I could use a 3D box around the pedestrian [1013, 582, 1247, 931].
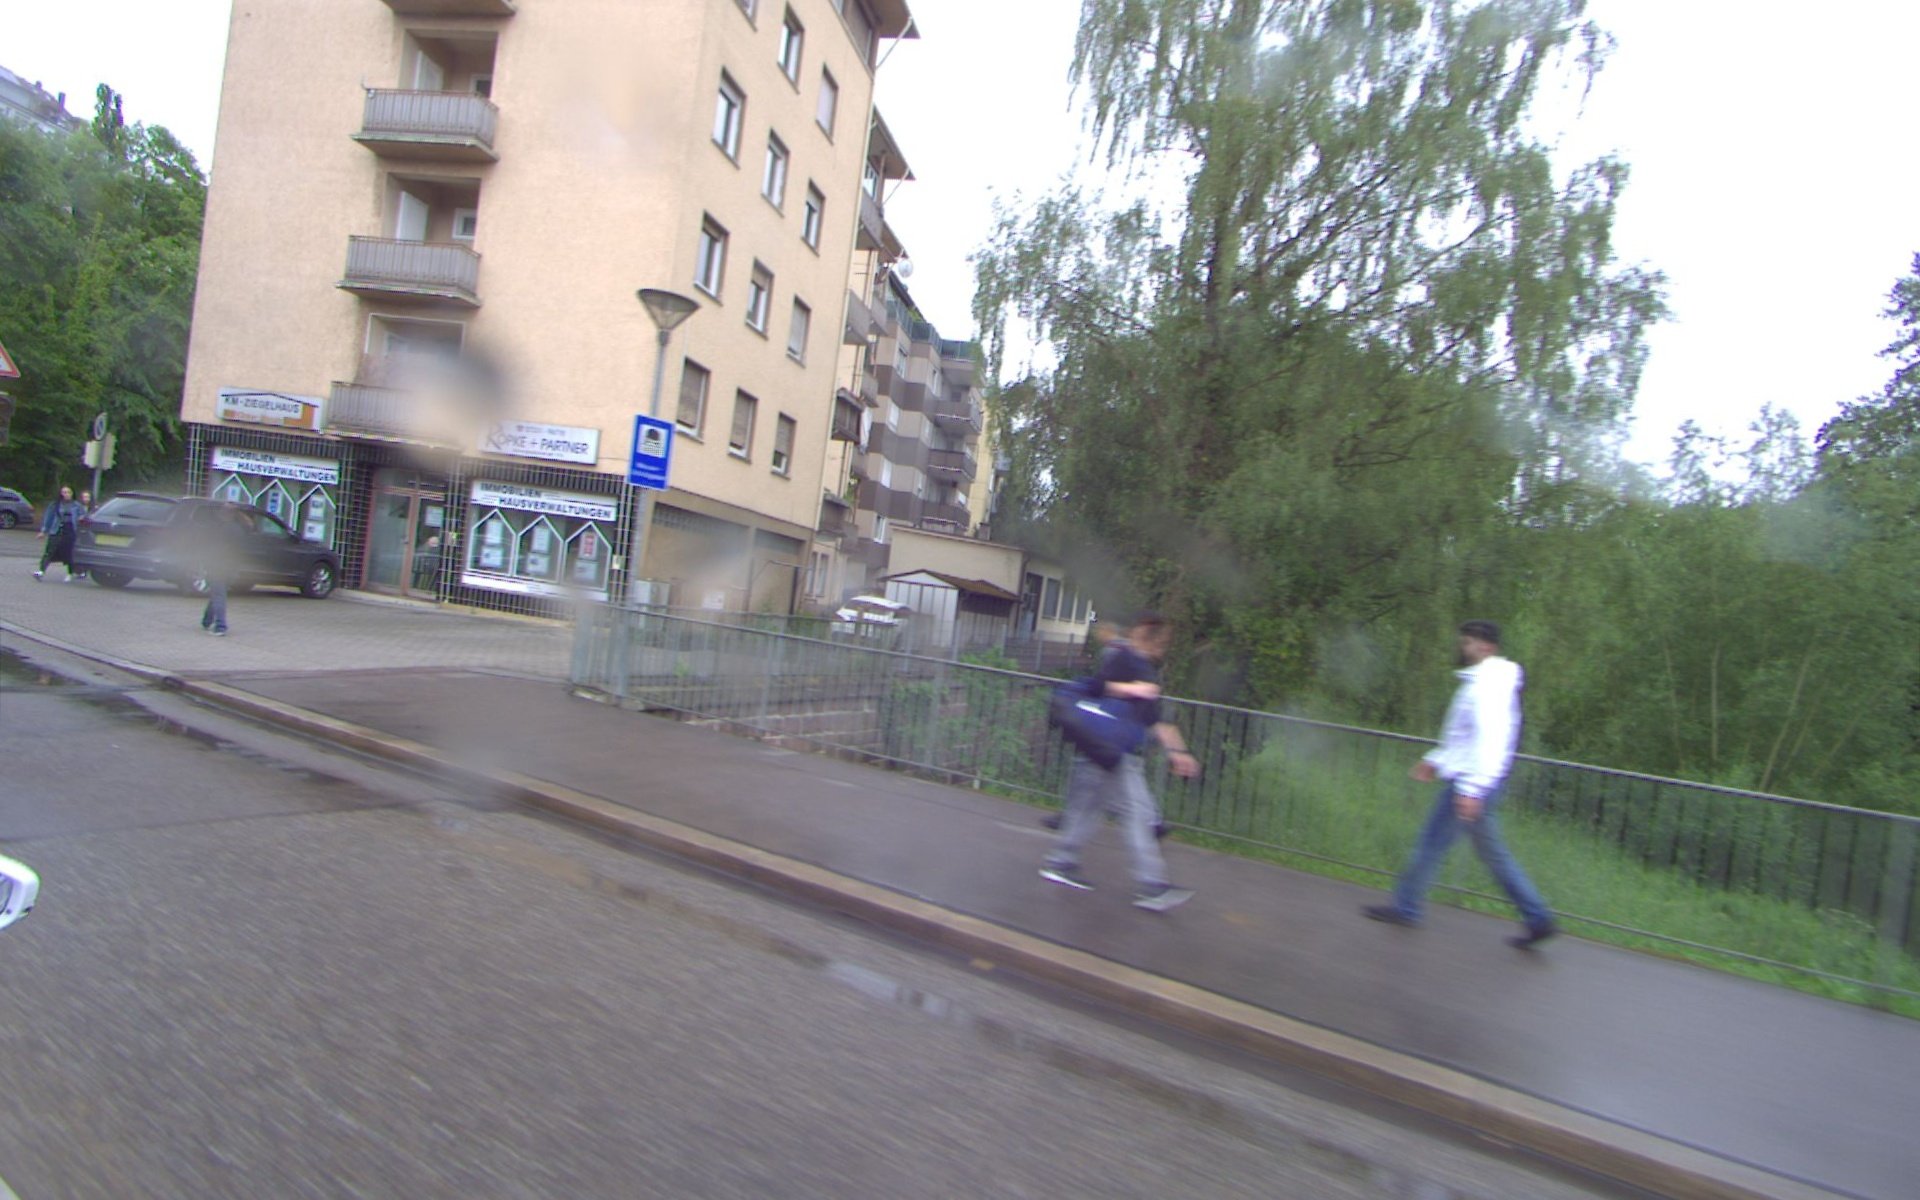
[{"bbox_3d":[0.944,0.790,5.494,0.825,1.640,0.863,7,2,31],"label":"pedestrian"}]

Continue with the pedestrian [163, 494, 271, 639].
[{"bbox_3d":[-9.328,-0.410,12.640,0.768,1.699,0.761,8,3,31],"label":"pedestrian"}]

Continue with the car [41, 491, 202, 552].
[{"bbox_3d":[-30.827,-2.844,37.142,1.775,1.580,4.157,7,-1,17],"label":"car"}]

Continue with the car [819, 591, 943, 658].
[{"bbox_3d":[-2.007,0.677,27.154,1.783,1.393,4.455,10,1,15],"label":"car"}]

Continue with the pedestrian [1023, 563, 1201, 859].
[{"bbox_3d":[1.056,0.727,6.925,0.768,1.832,0.761,8,2,31],"label":"pedestrian"}]

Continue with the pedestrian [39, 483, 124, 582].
[{"bbox_3d":[-15.340,-1.169,17.584,0.751,1.596,0.778,6,3,-14],"label":"pedestrian"}]

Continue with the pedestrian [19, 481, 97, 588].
[{"bbox_3d":[-14.759,-1.063,16.454,0.782,1.621,0.658,7,3,29],"label":"pedestrian"}]

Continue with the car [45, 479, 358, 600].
[{"bbox_3d":[-13.142,-0.948,17.860,1.847,1.670,4.381,7,1,6],"label":"car"}]

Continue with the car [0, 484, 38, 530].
[{"bbox_3d":[-35.230,-3.481,34.916,1.848,1.521,4.337,7,1,20],"label":"car"}]

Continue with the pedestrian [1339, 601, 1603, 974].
[{"bbox_3d":[2.851,0.969,5.637,1.043,1.774,0.780,7,1,31],"label":"pedestrian"}]
